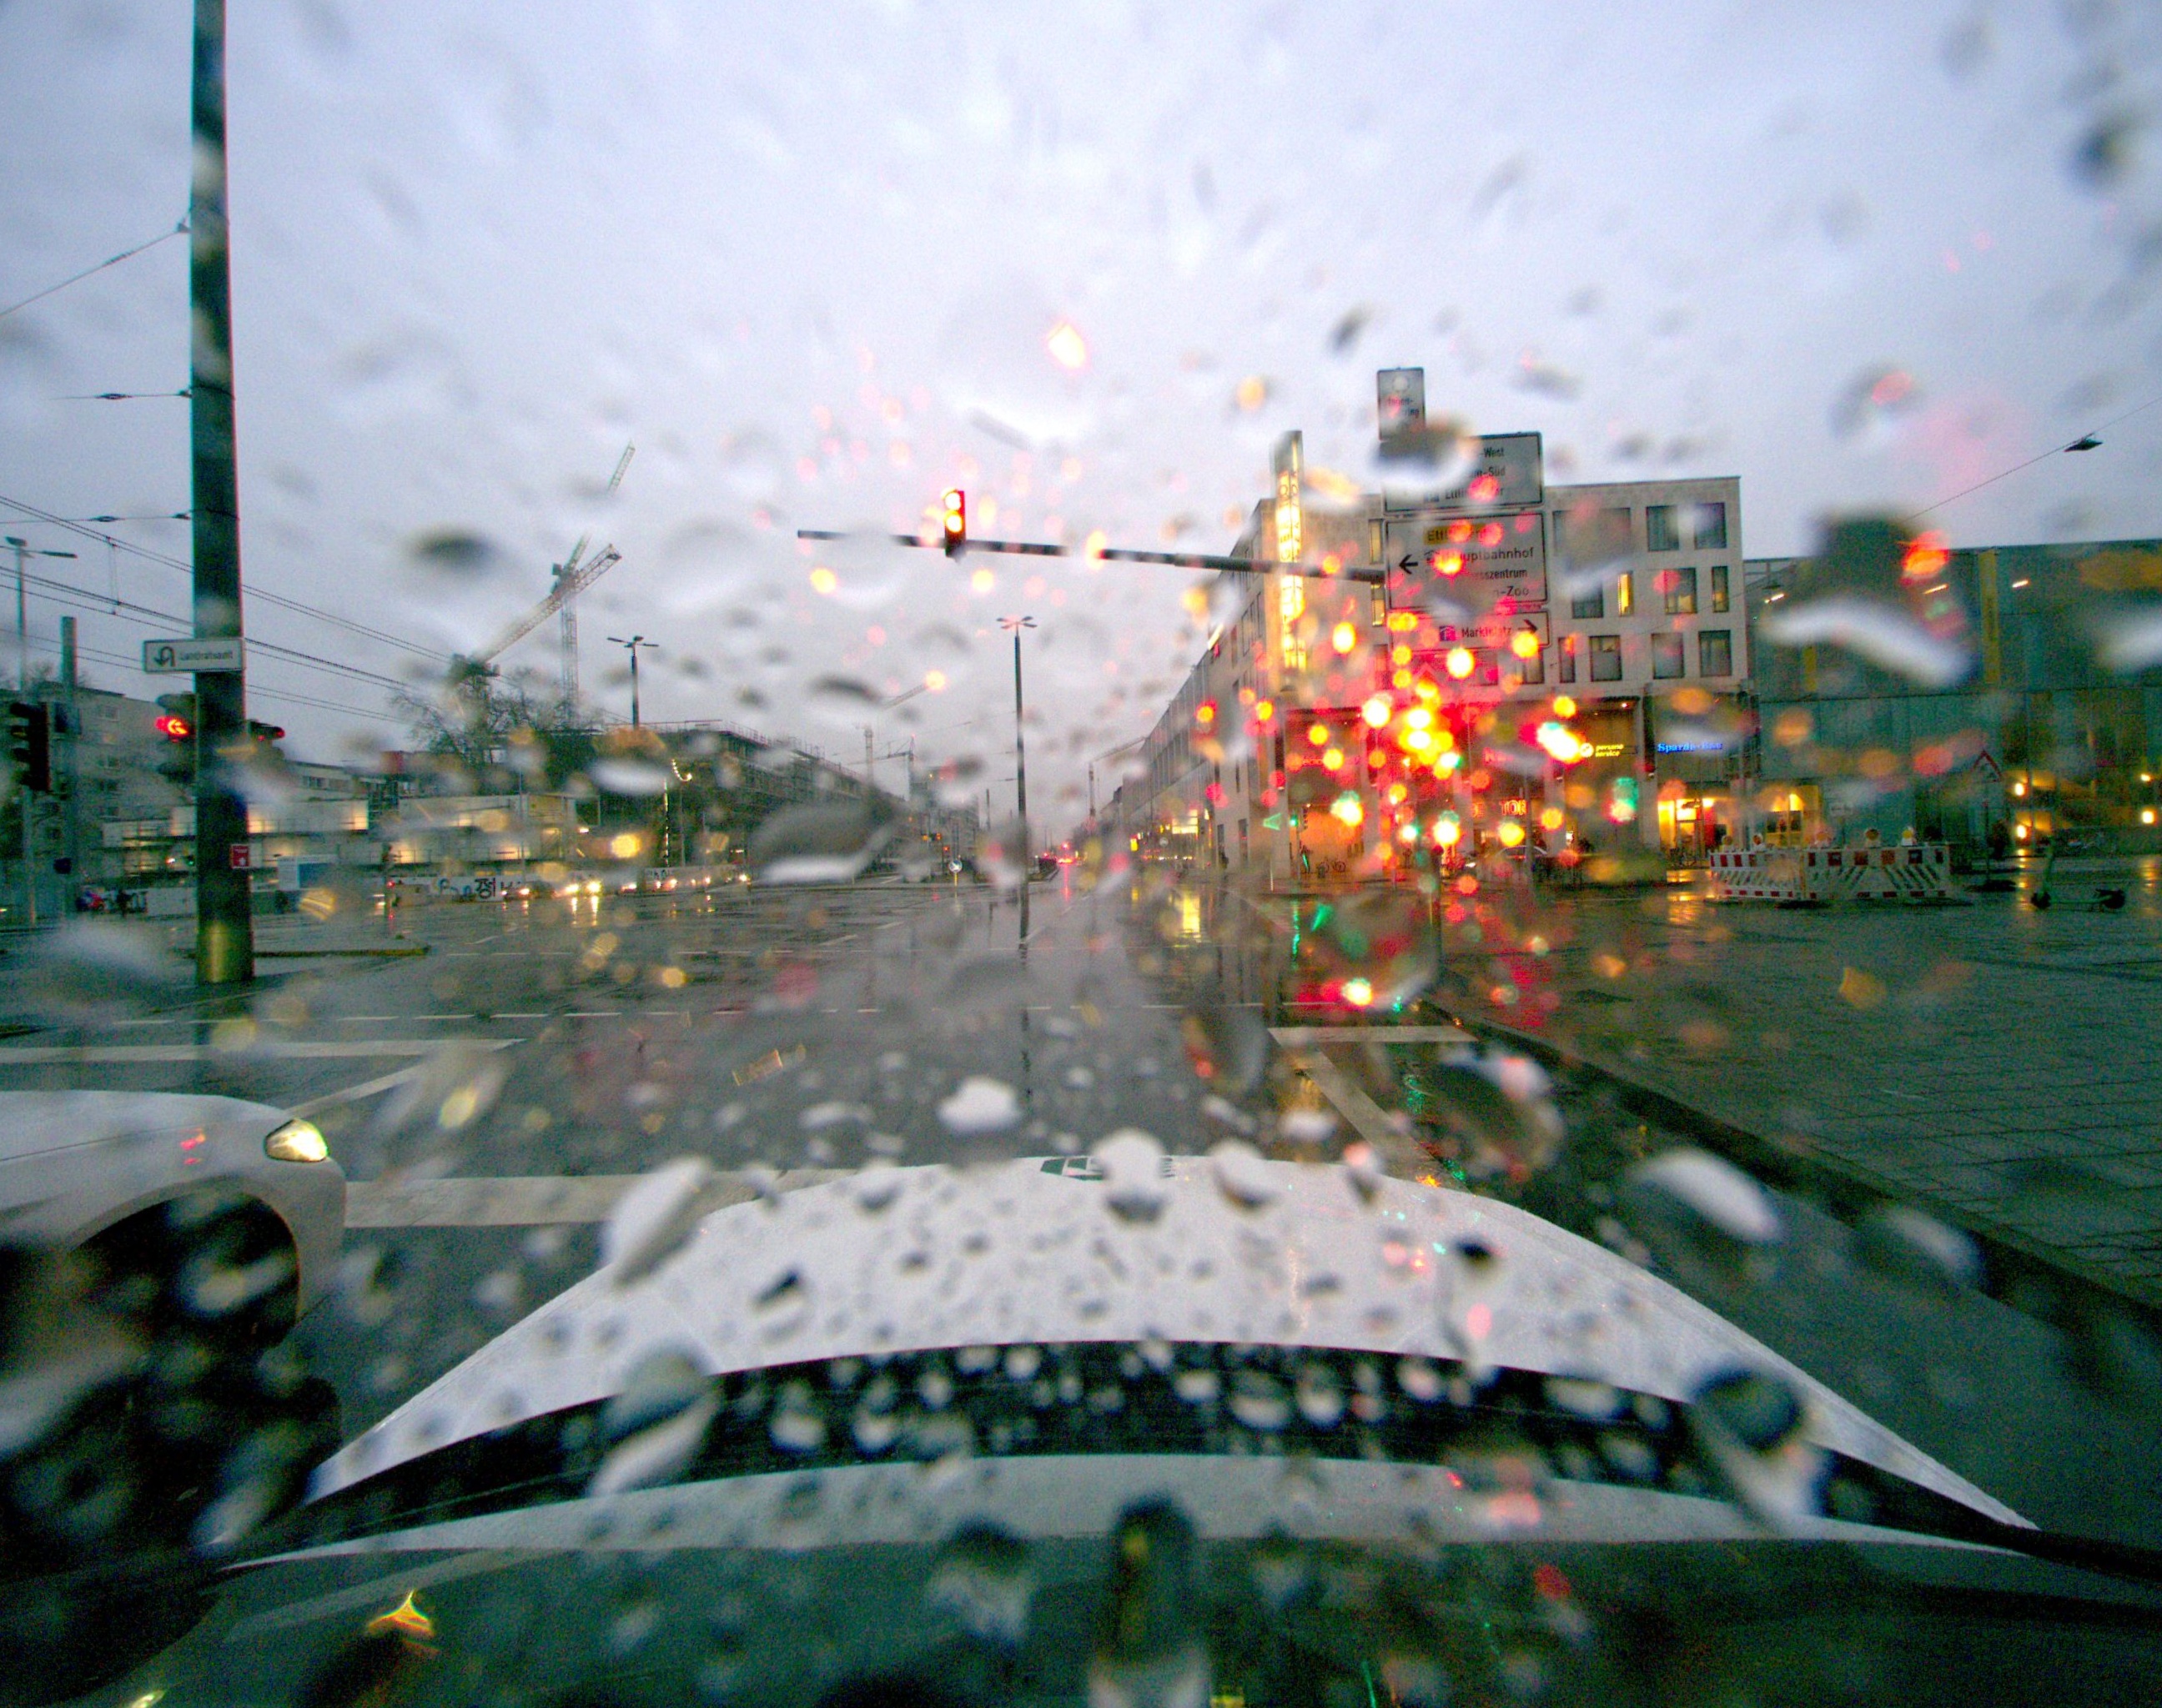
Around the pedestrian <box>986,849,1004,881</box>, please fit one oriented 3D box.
[{"bbox_3d":[-4.945,0.627,46.754,0.826,1.831,0.778,0,-1,-29],"label":"pedestrian"}]

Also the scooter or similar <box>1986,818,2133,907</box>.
[{"bbox_3d":[15.689,0.124,13.116,0.590,1.352,1.495,0,0,2],"label":"scooter or similar"}]

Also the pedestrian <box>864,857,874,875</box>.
[{"bbox_3d":[-23.948,1.301,92.051,0.941,2.014,1.091,0,-1,-8],"label":"pedestrian"}]

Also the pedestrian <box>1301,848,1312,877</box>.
[{"bbox_3d":[13.734,0.512,49.552,0.596,1.745,0.526,-1,-1,10],"label":"pedestrian"}]

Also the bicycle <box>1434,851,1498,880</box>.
[{"bbox_3d":[19.253,0.585,40.747,2.705,1.359,0.957,-2,-1,-2],"label":"bicycle"}]

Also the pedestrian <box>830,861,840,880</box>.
[{"bbox_3d":[-23.481,1.574,77.726,0.696,1.881,0.553,0,-1,1],"label":"pedestrian"}]

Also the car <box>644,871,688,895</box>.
[{"bbox_3d":[-34.750,2.402,68.329,1.862,1.828,3.993,0,-1,-5],"label":"car"}]

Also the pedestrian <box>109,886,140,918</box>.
[{"bbox_3d":[-59.365,2.992,50.537,0.921,1.934,0.816,0,-1,-5],"label":"pedestrian"}]

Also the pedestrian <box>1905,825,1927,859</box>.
[{"bbox_3d":[42.328,-0.613,41.289,0.539,1.684,0.583,-1,-1,8],"label":"pedestrian"}]

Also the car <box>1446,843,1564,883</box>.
[{"bbox_3d":[17.881,0.374,34.516,3.970,1.618,2.001,0,-1,3],"label":"car"}]

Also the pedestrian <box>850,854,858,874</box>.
[{"bbox_3d":[-22.743,1.040,81.485,0.569,1.968,0.664,1,-1,-4],"label":"pedestrian"}]

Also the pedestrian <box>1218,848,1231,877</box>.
[{"bbox_3d":[8.593,0.530,48.877,0.634,1.709,0.574,-2,-1,1],"label":"pedestrian"}]

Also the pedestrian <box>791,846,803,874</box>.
[{"bbox_3d":[-24.255,0.506,69.507,0.762,2.323,0.763,0,-2,1],"label":"pedestrian"}]

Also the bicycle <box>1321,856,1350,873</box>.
[{"bbox_3d":[15.811,0.663,50.561,1.642,1.070,0.524,0,-1,-2],"label":"bicycle"}]

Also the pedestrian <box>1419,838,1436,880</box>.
[{"bbox_3d":[20.425,0.303,47.969,0.687,2.441,0.758,0,-1,1],"label":"pedestrian"}]

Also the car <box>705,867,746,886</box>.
[{"bbox_3d":[-34.980,2.211,80.257,1.984,1.790,4.005,0,-1,4],"label":"car"}]

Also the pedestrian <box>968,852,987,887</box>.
[{"bbox_3d":[-6.046,0.920,47.584,0.776,2.014,0.732,-1,-1,44],"label":"pedestrian"}]

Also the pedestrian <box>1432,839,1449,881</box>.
[{"bbox_3d":[21.171,0.345,47.969,0.691,2.448,0.792,0,-1,1],"label":"pedestrian"}]

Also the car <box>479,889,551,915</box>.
[{"bbox_3d":[-38.525,3.230,55.598,1.986,1.530,4.001,-2,-1,2],"label":"car"}]

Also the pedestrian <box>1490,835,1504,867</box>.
[{"bbox_3d":[23.892,-0.181,46.783,0.549,1.826,0.361,-2,-1,2],"label":"pedestrian"}]

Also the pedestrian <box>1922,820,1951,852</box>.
[{"bbox_3d":[45.272,-0.955,43.110,0.737,1.684,0.783,0,-1,8],"label":"pedestrian"}]

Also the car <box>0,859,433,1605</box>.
[{"bbox_3d":[-3.213,0.789,0.413,2.010,1.487,4.561,-2,0,1],"label":"car"}]

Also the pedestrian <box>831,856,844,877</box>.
[{"bbox_3d":[-23.733,1.193,79.302,0.939,2.014,1.093,0,-1,-1],"label":"pedestrian"}]

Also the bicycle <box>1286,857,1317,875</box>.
[{"bbox_3d":[13.655,0.746,50.470,1.765,1.070,0.523,0,-1,-7],"label":"bicycle"}]

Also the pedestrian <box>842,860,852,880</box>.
[{"bbox_3d":[-23.064,1.584,80.400,0.762,1.898,0.763,0,-2,1],"label":"pedestrian"}]

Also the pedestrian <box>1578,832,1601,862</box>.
[{"bbox_3d":[29.372,-0.425,47.057,0.890,1.684,0.528,-2,-1,1],"label":"pedestrian"}]

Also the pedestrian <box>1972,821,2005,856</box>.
[{"bbox_3d":[44.489,-0.767,39.918,0.737,1.684,0.783,0,-1,8],"label":"pedestrian"}]

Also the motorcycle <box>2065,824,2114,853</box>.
[{"bbox_3d":[48.154,-0.749,38.894,1.482,1.352,0.595,0,0,5],"label":"motorcycle"}]

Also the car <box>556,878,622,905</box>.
[{"bbox_3d":[-33.720,2.556,55.970,1.986,1.657,4.001,-2,-1,2],"label":"car"}]

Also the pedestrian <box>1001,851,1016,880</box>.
[{"bbox_3d":[-4.290,0.694,48.217,0.605,1.686,0.581,-1,-1,44],"label":"pedestrian"}]

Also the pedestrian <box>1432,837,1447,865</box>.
[{"bbox_3d":[22.671,-0.204,51.540,0.728,1.718,0.743,-3,-1,29],"label":"pedestrian"}]

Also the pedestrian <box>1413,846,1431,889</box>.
[{"bbox_3d":[19.691,0.777,47.083,0.712,2.441,0.758,0,-1,1],"label":"pedestrian"}]

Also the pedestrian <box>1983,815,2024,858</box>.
[{"bbox_3d":[36.751,-0.697,32.466,0.737,1.684,0.783,0,-1,8],"label":"pedestrian"}]

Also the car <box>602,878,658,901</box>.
[{"bbox_3d":[-34.277,2.653,62.037,2.074,1.530,4.603,-2,-1,-8],"label":"car"}]

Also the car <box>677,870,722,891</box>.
[{"bbox_3d":[-34.911,2.421,74.700,1.984,1.790,4.005,0,-1,4],"label":"car"}]

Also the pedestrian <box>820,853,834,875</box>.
[{"bbox_3d":[-23.895,0.943,76.641,0.938,2.014,1.094,0,-1,2],"label":"pedestrian"}]

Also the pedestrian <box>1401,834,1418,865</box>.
[{"bbox_3d":[21.723,-0.275,53.833,0.841,2.013,0.700,-2,0,10],"label":"pedestrian"}]

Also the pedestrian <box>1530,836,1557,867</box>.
[{"bbox_3d":[25.900,-0.125,45.602,1.026,1.684,0.824,0,-1,1],"label":"pedestrian"}]

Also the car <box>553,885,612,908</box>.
[{"bbox_3d":[-38.853,3.305,63.549,1.986,1.530,4.001,-2,-1,2],"label":"car"}]
